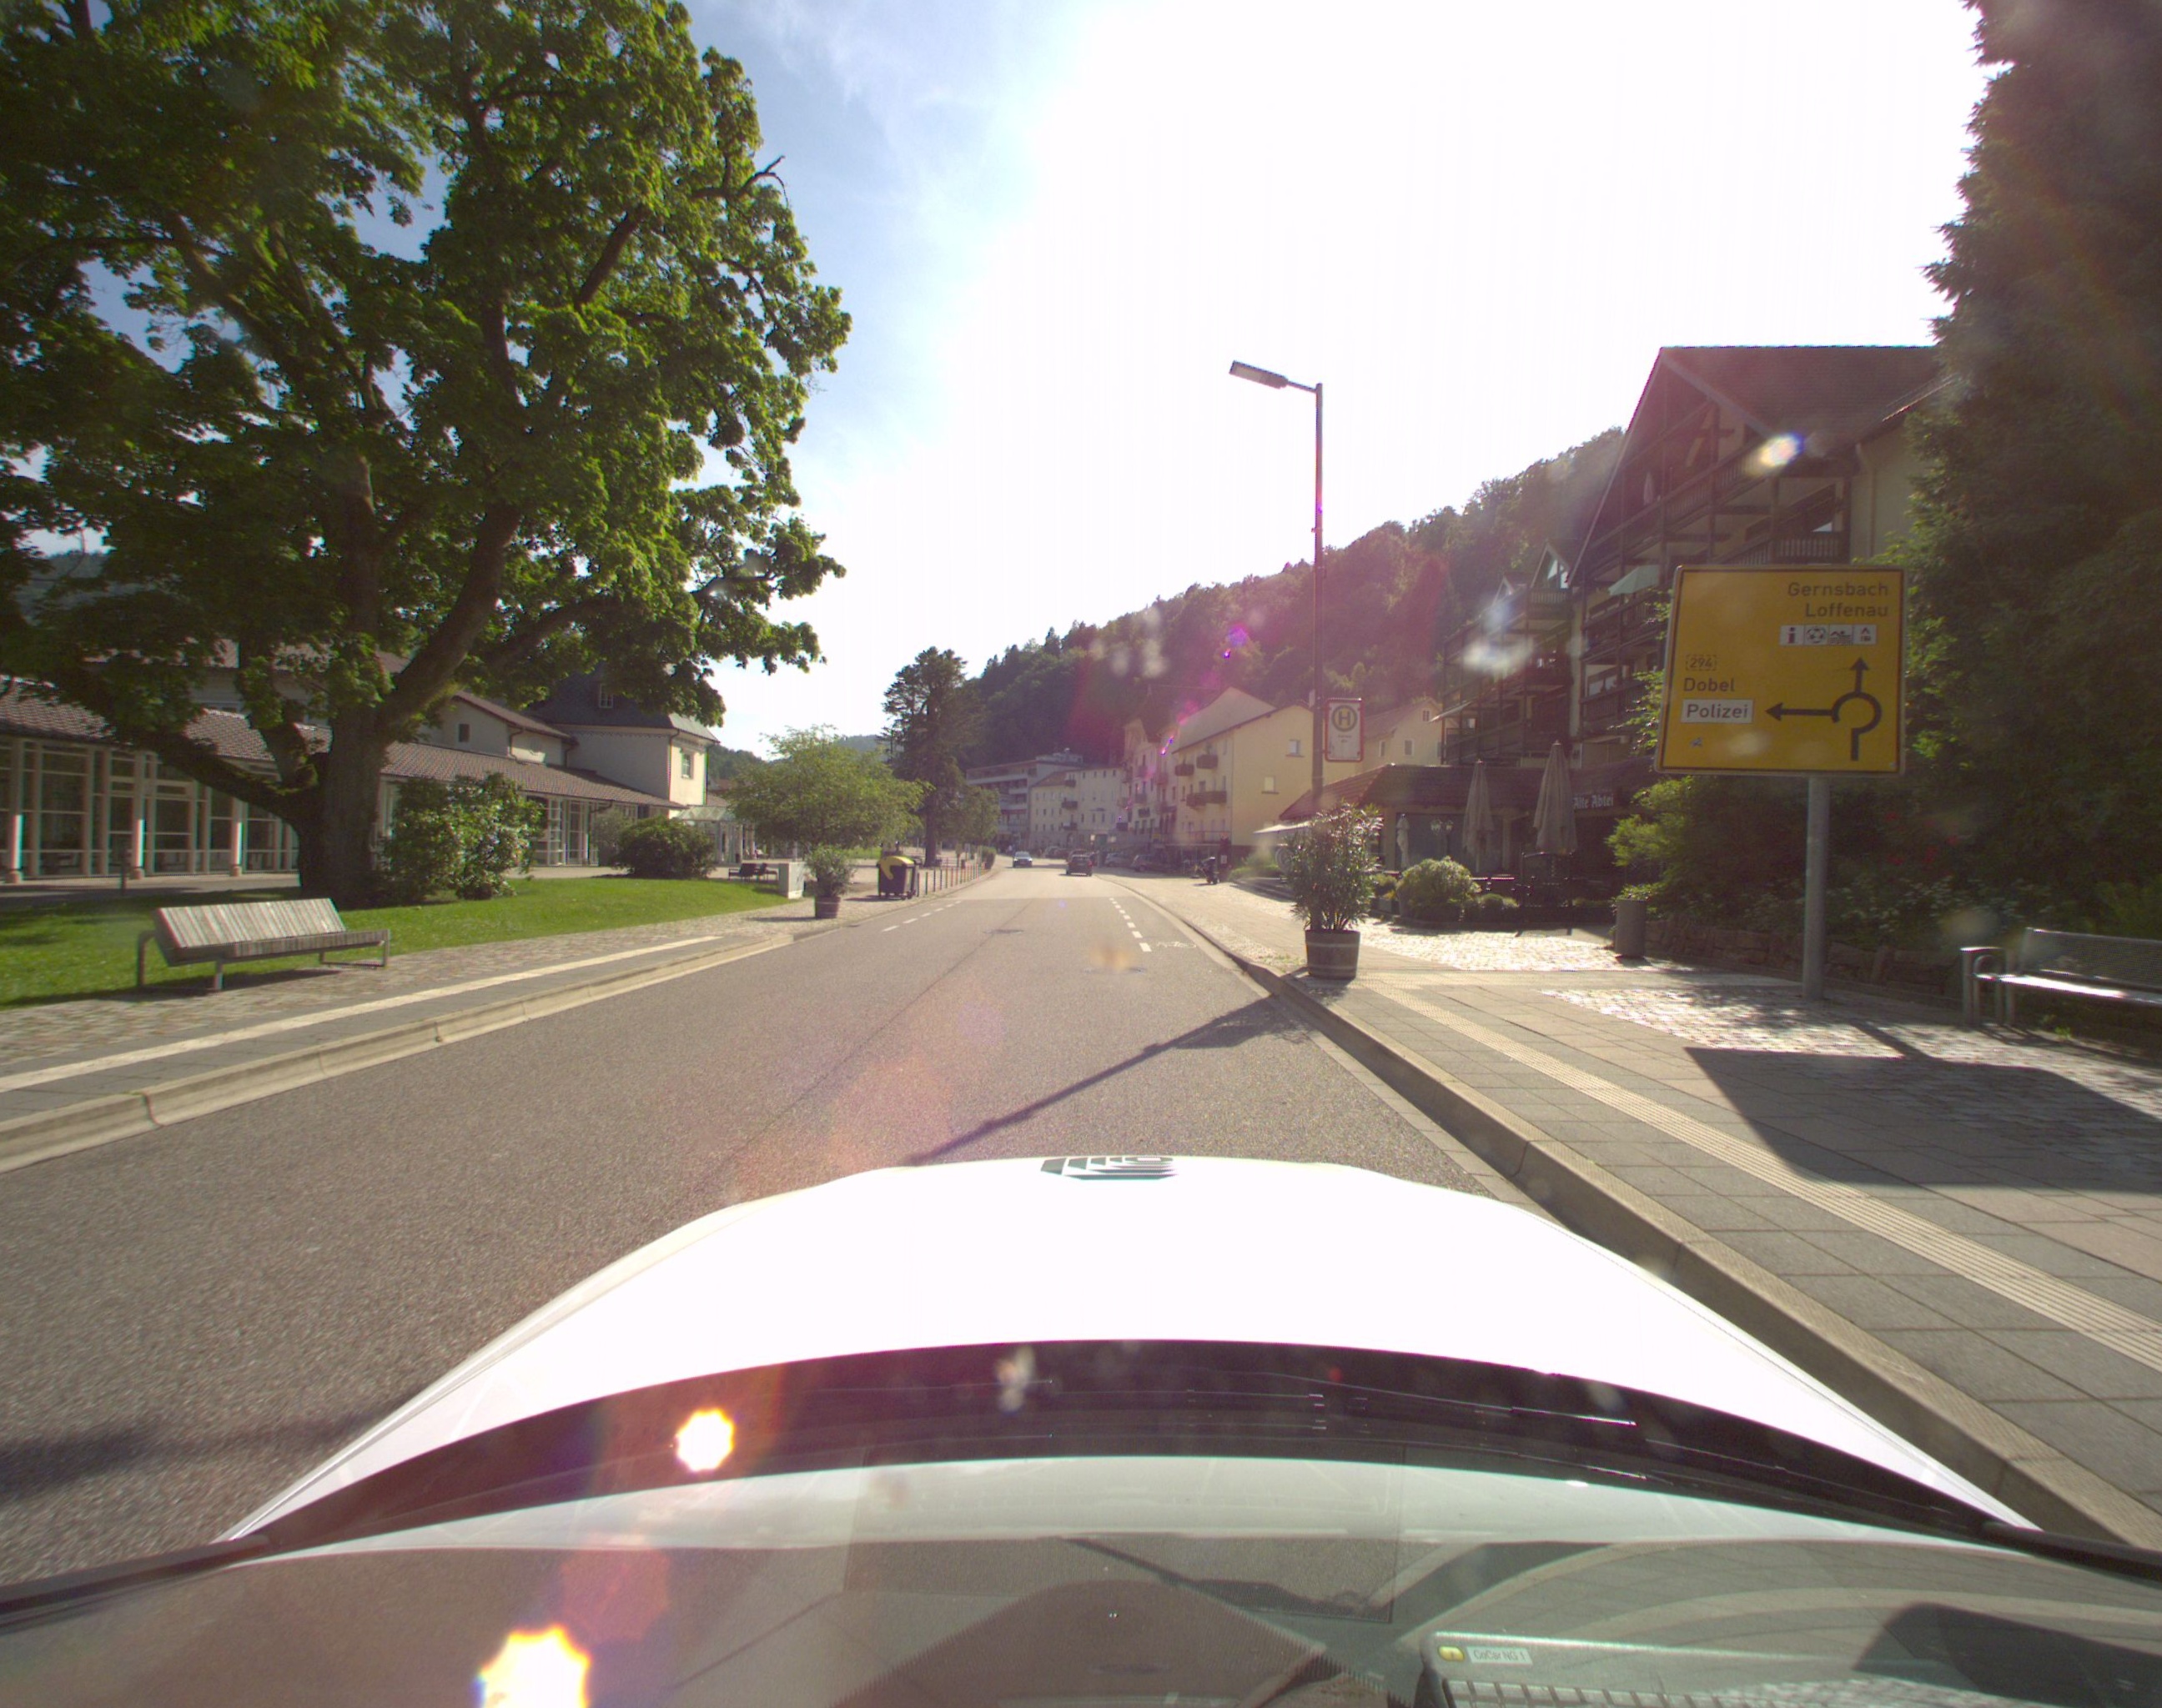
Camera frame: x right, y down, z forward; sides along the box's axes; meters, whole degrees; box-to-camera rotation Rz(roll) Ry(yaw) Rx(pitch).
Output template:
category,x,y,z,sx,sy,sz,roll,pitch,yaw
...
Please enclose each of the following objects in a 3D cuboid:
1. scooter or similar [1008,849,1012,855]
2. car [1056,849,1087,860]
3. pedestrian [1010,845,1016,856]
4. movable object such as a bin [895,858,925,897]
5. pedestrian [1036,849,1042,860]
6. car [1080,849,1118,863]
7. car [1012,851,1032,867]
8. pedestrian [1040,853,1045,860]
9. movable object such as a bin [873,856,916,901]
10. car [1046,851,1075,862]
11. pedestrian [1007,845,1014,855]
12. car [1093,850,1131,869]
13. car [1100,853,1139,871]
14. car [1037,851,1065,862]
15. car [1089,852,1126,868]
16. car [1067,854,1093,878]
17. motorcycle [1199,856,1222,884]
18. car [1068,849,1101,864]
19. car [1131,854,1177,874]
category,x,y,z,sx,sy,sz,roll,pitch,yaw
scooter or similar,-11.438,-0.361,131.229,0.600,0.950,0.470,2,0,-31
car,-1.366,0.062,116.043,4.033,1.516,1.757,-1,3,-29
pedestrian,-11.117,-0.517,132.344,0.673,1.728,0.701,2,0,-31
movable object such as a bin,-6.229,0.846,29.653,0.753,1.341,1.294,3,0,-1
pedestrian,-5.922,0.092,114.934,0.740,1.442,0.626,-1,1,-34
car,2.197,0.249,100.047,4.351,1.461,1.769,3,-1,-6
car,-5.566,0.496,77.682,1.737,1.462,4.183,0,0,-2
pedestrian,-5.443,0.327,115.271,0.420,1.002,0.526,-1,1,-32
movable object such as a bin,-6.339,0.823,27.725,1.075,1.427,1.376,3,0,-1
car,-2.983,0.378,120.086,3.884,1.549,1.757,-1,3,-29
pedestrian,-11.351,-0.639,131.093,0.762,1.594,0.622,2,0,-31
car,3.451,0.627,90.932,3.907,1.804,1.852,5,-1,-8
car,4.150,0.841,88.431,3.907,1.589,1.770,4,0,-8
car,-4.521,0.360,122.752,3.884,1.612,1.757,-1,3,-29
car,3.028,0.676,93.793,3.907,1.461,1.731,4,0,-8
car,-0.103,0.865,60.983,1.722,1.574,3.751,3,2,-2
motorcycle,6.329,0.779,39.884,0.695,1.296,2.210,-1,0,-2
car,0.439,0.310,104.989,4.081,1.666,1.768,5,0,-8
car,6.672,0.944,74.807,3.860,1.554,1.754,4,0,-11
